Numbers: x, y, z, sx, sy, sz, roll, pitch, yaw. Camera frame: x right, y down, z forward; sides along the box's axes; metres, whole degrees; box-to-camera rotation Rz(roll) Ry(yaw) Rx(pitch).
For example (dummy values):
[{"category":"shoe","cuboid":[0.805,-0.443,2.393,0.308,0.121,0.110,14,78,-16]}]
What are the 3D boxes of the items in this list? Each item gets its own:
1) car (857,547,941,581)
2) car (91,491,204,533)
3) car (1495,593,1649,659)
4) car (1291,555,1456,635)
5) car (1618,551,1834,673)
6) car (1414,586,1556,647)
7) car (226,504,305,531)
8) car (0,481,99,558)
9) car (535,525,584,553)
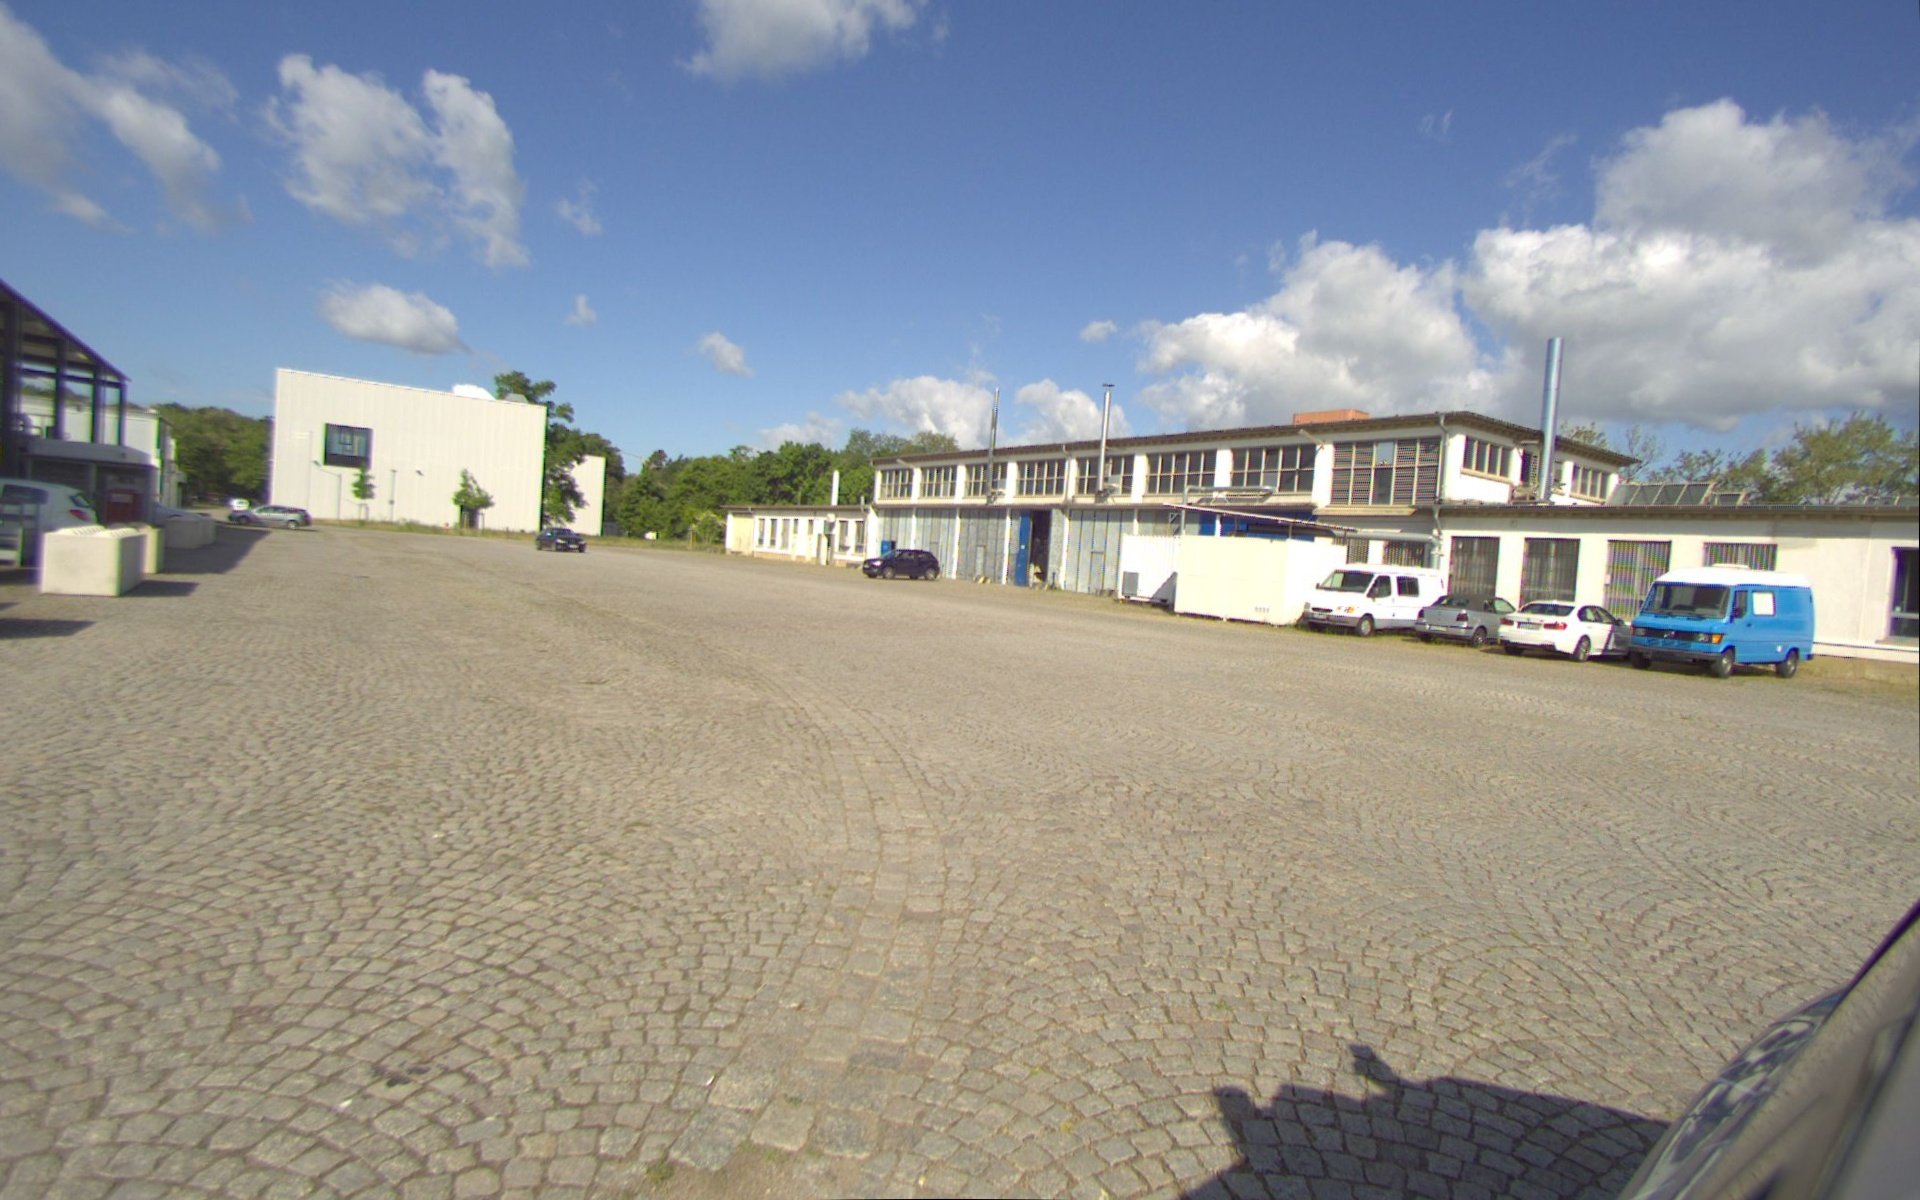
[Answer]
[{"category":"car","cuboid":[-3.156,-1.874,52.817,3.999,1.487,1.742,2,3,-36]},{"category":"car","cuboid":[-34.210,-3.689,42.736,3.628,1.426,1.676,3,2,-37]},{"category":"car","cuboid":[15.240,0.639,25.181,3.664,1.422,1.740,1,3,-31]},{"category":"car","cuboid":[12.349,-0.137,30.156,4.709,2.106,2.013,2,3,-31]},{"category":"car","cuboid":[17.825,0.299,23.502,5.134,2.513,2.093,2,2,-31]},{"category":"car","cuboid":[14.532,0.466,27.980,3.755,1.415,1.695,3,3,-31]},{"category":"car","cuboid":[-44.748,-5.319,65.279,4.108,1.420,1.742,3,2,-35]},{"category":"car","cuboid":[-19.102,-1.637,19.708,3.409,1.392,1.611,3,2,-37]},{"category":"car","cuboid":[-23.554,-3.609,59.387,1.707,1.446,4.078,3,3,-35]}]
